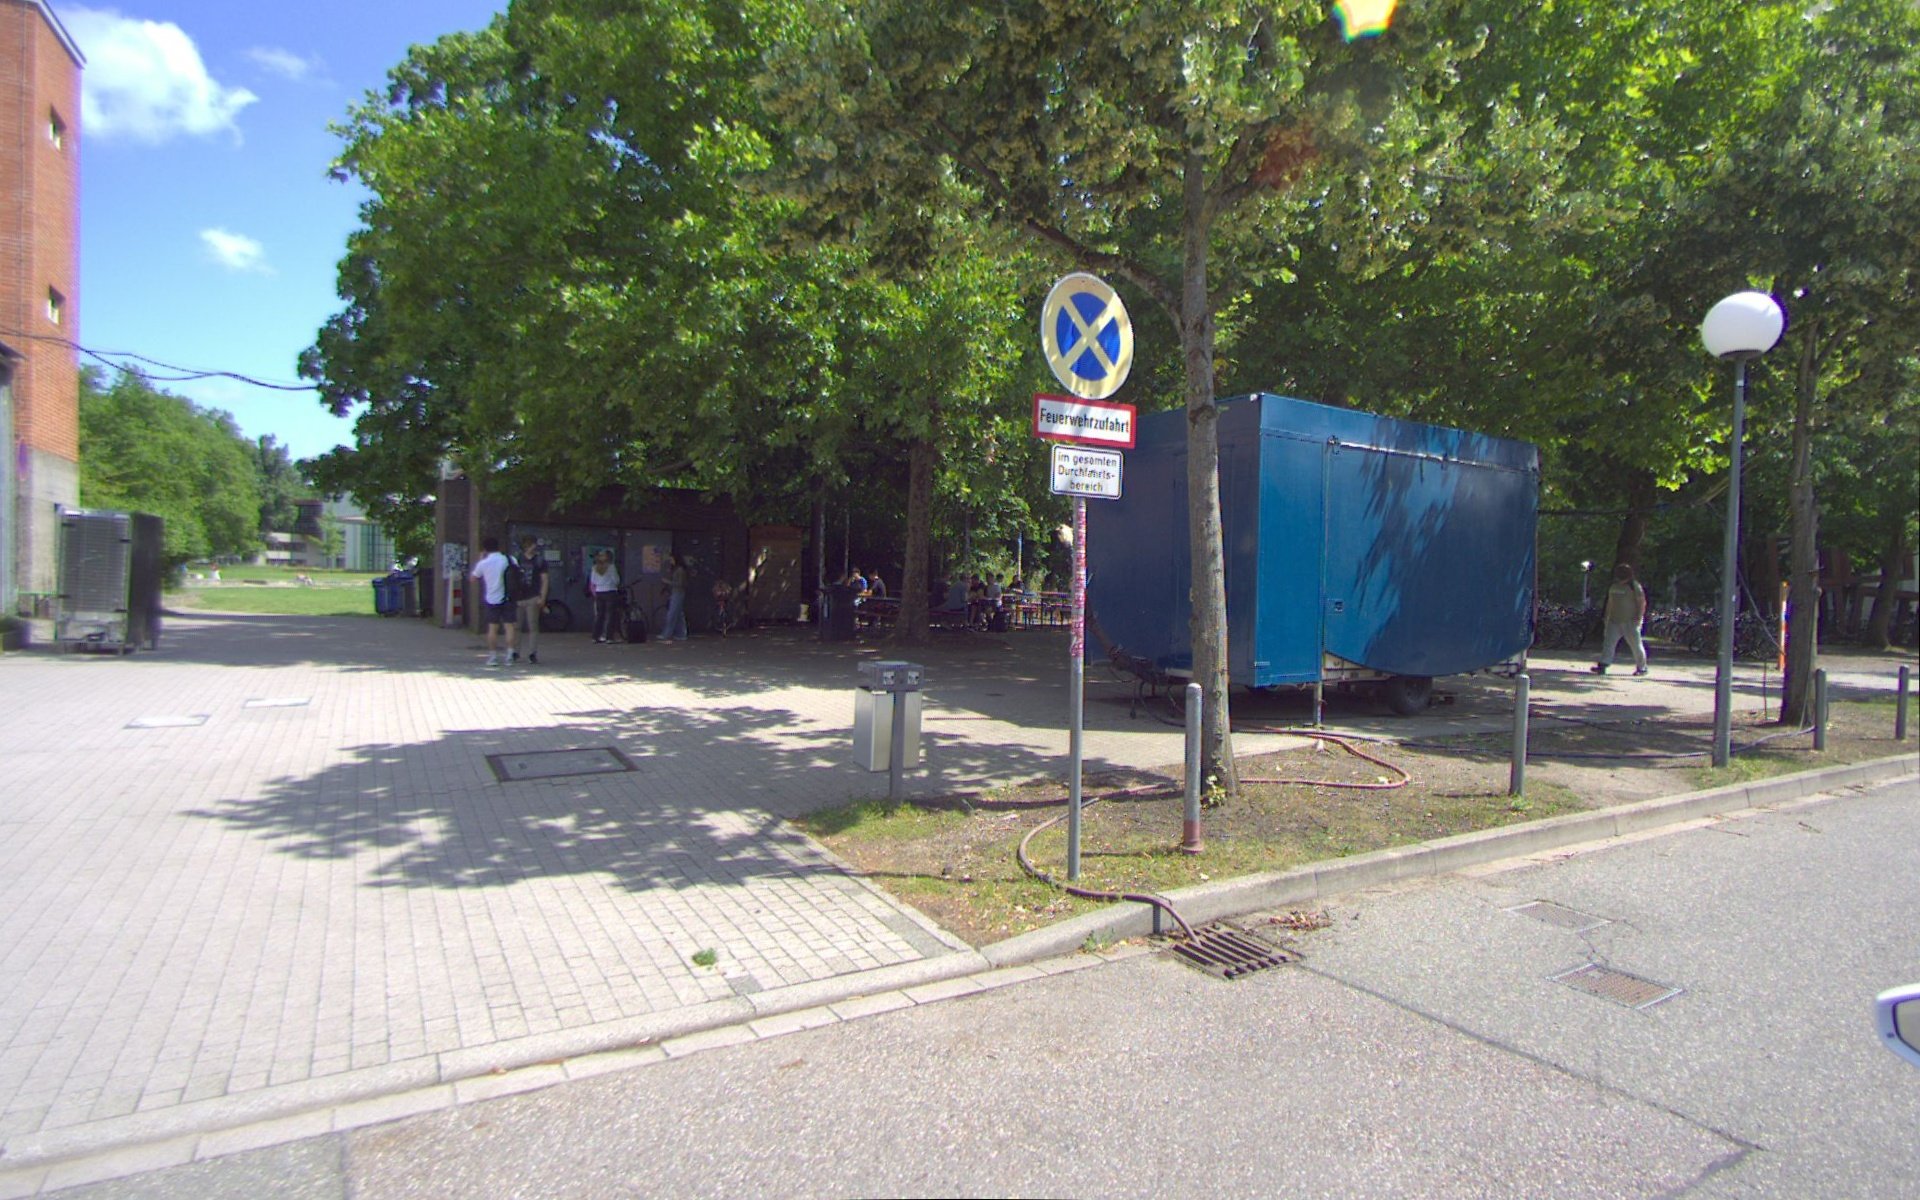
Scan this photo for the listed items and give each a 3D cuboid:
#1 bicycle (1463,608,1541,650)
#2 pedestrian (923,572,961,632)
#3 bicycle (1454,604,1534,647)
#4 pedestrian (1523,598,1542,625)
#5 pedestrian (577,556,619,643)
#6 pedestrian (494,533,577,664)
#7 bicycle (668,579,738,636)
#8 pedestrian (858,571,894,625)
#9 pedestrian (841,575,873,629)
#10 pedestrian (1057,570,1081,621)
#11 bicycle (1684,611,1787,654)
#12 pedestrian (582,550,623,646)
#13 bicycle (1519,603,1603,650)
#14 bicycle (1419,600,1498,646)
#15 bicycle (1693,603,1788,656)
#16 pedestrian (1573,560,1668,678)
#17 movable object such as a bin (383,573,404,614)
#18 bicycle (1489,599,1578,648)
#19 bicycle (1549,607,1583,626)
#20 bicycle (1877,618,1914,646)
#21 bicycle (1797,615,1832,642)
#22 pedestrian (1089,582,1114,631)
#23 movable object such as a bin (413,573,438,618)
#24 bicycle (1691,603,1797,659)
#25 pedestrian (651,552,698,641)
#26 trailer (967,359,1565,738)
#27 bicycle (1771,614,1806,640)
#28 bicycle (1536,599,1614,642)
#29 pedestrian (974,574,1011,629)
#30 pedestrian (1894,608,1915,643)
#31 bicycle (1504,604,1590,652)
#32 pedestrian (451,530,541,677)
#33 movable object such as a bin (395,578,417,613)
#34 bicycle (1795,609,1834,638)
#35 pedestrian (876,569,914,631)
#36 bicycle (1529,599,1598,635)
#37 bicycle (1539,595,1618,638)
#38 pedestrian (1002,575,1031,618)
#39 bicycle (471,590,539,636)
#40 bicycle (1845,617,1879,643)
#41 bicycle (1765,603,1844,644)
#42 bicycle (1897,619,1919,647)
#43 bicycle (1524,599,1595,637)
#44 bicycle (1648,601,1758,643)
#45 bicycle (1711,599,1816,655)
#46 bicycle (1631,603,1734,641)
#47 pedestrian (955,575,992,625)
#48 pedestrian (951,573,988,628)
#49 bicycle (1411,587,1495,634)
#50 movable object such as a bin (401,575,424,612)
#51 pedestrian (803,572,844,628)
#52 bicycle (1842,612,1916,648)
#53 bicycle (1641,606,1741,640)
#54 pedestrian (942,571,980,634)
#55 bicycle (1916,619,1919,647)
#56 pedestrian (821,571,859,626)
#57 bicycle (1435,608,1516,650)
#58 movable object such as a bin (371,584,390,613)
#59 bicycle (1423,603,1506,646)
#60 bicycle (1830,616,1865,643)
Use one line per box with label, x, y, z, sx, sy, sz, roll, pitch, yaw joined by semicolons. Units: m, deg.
bicycle;16.194;0.839;30.062;1.939;1.104;0.544;4;3;43
pedestrian;-0.418;0.042;23.569;0.533;1.350;0.846;2;1;24
bicycle;15.506;0.718;29.210;1.939;1.104;0.534;4;3;42
pedestrian;35.857;0.729;62.899;0.590;1.614;0.824;1;2;-29
pedestrian;-6.937;-0.015;19.258;0.594;1.615;0.413;3;3;17
pedestrian;-5.930;-0.022;14.051;0.863;1.743;0.489;3;0;-3
bicycle;-5.306;0.148;20.756;1.323;1.091;0.417;3;0;15
pedestrian;-2.055;-0.047;24.569;0.685;1.288;0.557;1;2;-31
pedestrian;-2.631;0.054;25.598;0.552;1.341;0.642;1;1;-30
pedestrian;3.373;-0.136;31.015;0.470;1.543;0.500;0;3;-42
bicycle;21.300;0.878;27.649;2.115;1.022;0.676;3;2;30
pedestrian;-6.644;-0.051;18.691;0.520;1.734;0.448;3;3;15
bicycle;16.131;0.692;26.989;1.832;1.104;0.545;4;3;38
bicycle;12.708;0.573;25.671;0.531;1.028;1.795;1;2;-28
bicycle;19.084;0.706;24.588;1.753;1.147;0.456;4;3;42
pedestrian;11.674;0.319;17.778;0.879;1.981;0.916;2;3;-21
movable object such as a bin;-17.548;-0.205;31.126;0.527;1.216;0.491;1;2;-33
bicycle;14.500;0.584;25.417;1.832;1.104;0.545;4;3;38
bicycle;31.305;0.857;51.875;2.628;0.883;0.544;1;2;-38
bicycle;39.569;1.354;42.479;1.951;1.101;0.549;2;3;-32
bicycle;38.109;1.273;44.774;1.951;1.101;0.549;2;3;-32
pedestrian;4.247;0.185;30.150;0.457;1.441;0.501;1;3;-41
movable object such as a bin;-14.102;-0.111;26.477;0.516;1.158;0.588;1;2;-33
bicycle;20.104;0.765;25.778;2.030;1.251;0.804;4;3;42
pedestrian;-5.595;-0.077;19.688;0.665;1.673;0.503;3;3;20
trailer;3.453;-0.407;10.912;6.196;3.067;2.682;1;2;-32
bicycle;37.561;1.242;45.528;1.951;1.101;0.549;2;3;-32
bicycle;20.093;0.651;32.850;2.021;1.251;0.639;4;3;24
pedestrian;0.760;0.026;23.546;0.584;1.250;0.742;3;4;25
pedestrian;45.907;1.236;48.821;0.689;1.684;0.627;1;2;-42
bicycle;15.334;0.709;26.268;1.832;1.104;0.545;4;3;38
pedestrian;-6.100;0.048;13.228;0.863;1.844;0.449;3;0;-3
movable object such as a bin;-16.416;-0.124;29.783;0.527;1.016;0.491;1;2;-33
bicycle;37.791;1.041;44.408;2.354;1.269;0.523;1;1;-31
pedestrian;-1.503;-0.020;23.354;0.584;1.388;0.703;3;4;25
bicycle;20.467;0.561;34.087;1.932;1.104;0.546;4;2;30
bicycle;19.749;0.516;32.136;2.021;1.251;0.639;3;3;24
pedestrian;1.621;-0.092;28.786;0.725;1.210;0.387;1;3;-41
bicycle;-9.245;0.268;20.409;1.217;0.895;0.302;2;1;-30
bicycle;37.161;1.241;41.385;1.829;1.046;0.473;2;2;-31
bicycle;33.247;0.924;39.585;2.248;1.469;0.606;3;2;26
bicycle;39.790;1.365;41.853;1.951;1.101;0.549;2;3;-32
bicycle;21.004;0.617;35.259;2.021;1.173;0.639;3;3;24
bicycle;25.520;0.739;34.568;2.850;1.237;0.883;3;2;17
bicycle;21.031;0.686;26.302;2.030;1.251;0.804;6;4;42
bicycle;26.244;0.786;36.538;2.826;1.194;0.883;3;2;17
pedestrian;0.354;0.006;26.545;0.761;1.267;0.563;1;3;-43
pedestrian;0.228;-0.008;23.850;0.584;1.250;0.742;3;4;25
bicycle;13.296;0.263;27.153;0.533;1.141;1.943;1;3;-41
movable object such as a bin;-15.620;-0.185;28.641;0.516;1.025;0.588;1;2;-33
pedestrian;-3.386;0.000;24.929;0.769;1.341;0.684;1;1;-30
bicycle;35.249;1.144;38.559;1.983;1.270;0.586;2;1;27
bicycle;25.768;0.811;35.472;2.679;1.016;0.883;3;2;17
pedestrian;0.036;0.037;22.940;0.584;1.388;0.742;3;4;25
bicycle;40.118;1.384;41.345;1.951;1.101;0.549;2;3;-32
pedestrian;-2.881;-0.033;24.074;0.685;1.288;0.557;1;2;-31
bicycle;14.432;0.790;28.165;0.533;1.041;1.943;1;3;-41
movable object such as a bin;-19.519;-0.049;33.831;0.527;0.930;0.491;1;2;-33
bicycle;13.890;0.661;27.677;0.533;1.041;1.943;1;3;-41
bicycle;38.597;1.298;43.684;1.951;1.101;0.549;2;3;-32
